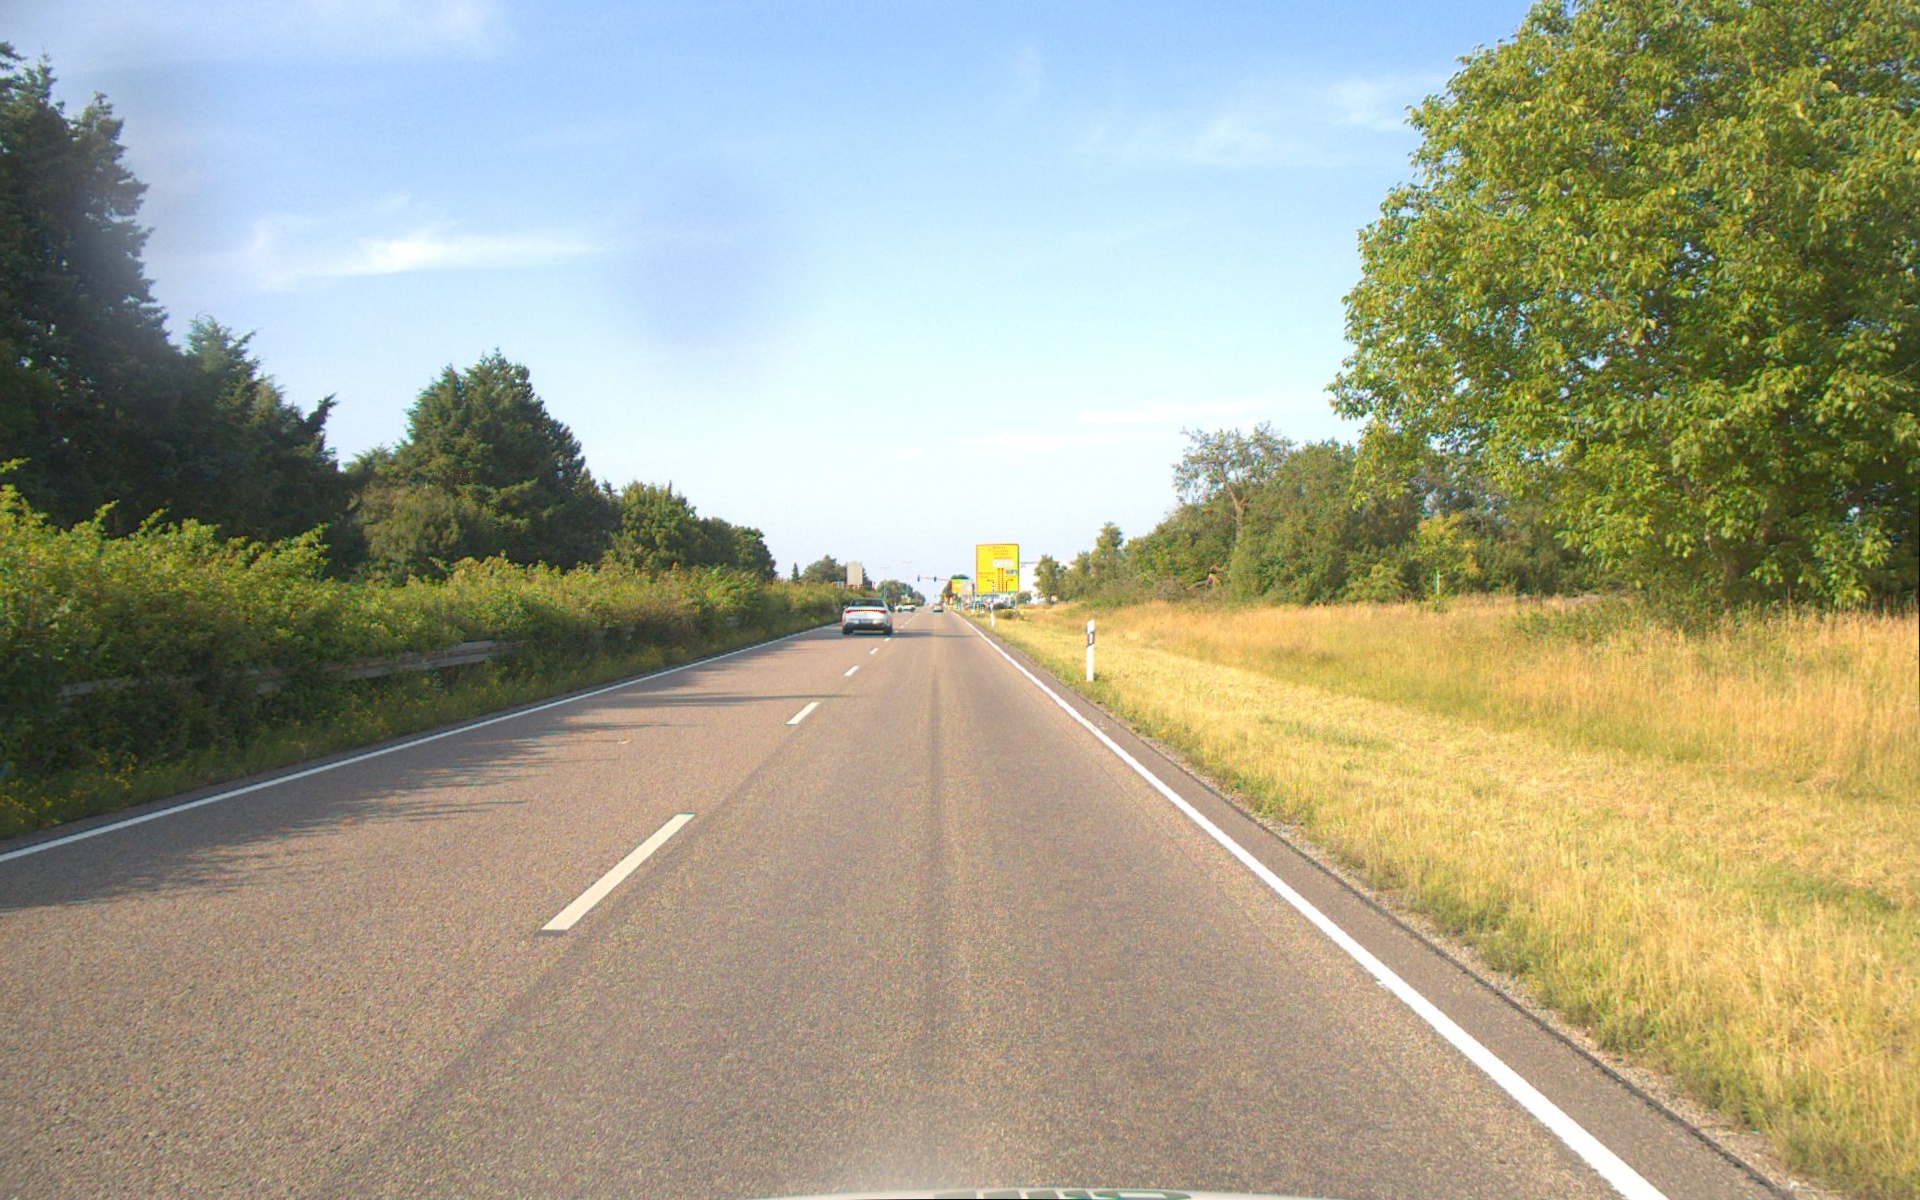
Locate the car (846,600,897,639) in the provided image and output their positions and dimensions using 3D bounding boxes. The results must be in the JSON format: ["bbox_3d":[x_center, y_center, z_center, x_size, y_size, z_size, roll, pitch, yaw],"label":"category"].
[{"bbox_3d":[-3.386,0.741,63.904,1.871,1.447,3.999,0,0,-2],"label":"car"}]
